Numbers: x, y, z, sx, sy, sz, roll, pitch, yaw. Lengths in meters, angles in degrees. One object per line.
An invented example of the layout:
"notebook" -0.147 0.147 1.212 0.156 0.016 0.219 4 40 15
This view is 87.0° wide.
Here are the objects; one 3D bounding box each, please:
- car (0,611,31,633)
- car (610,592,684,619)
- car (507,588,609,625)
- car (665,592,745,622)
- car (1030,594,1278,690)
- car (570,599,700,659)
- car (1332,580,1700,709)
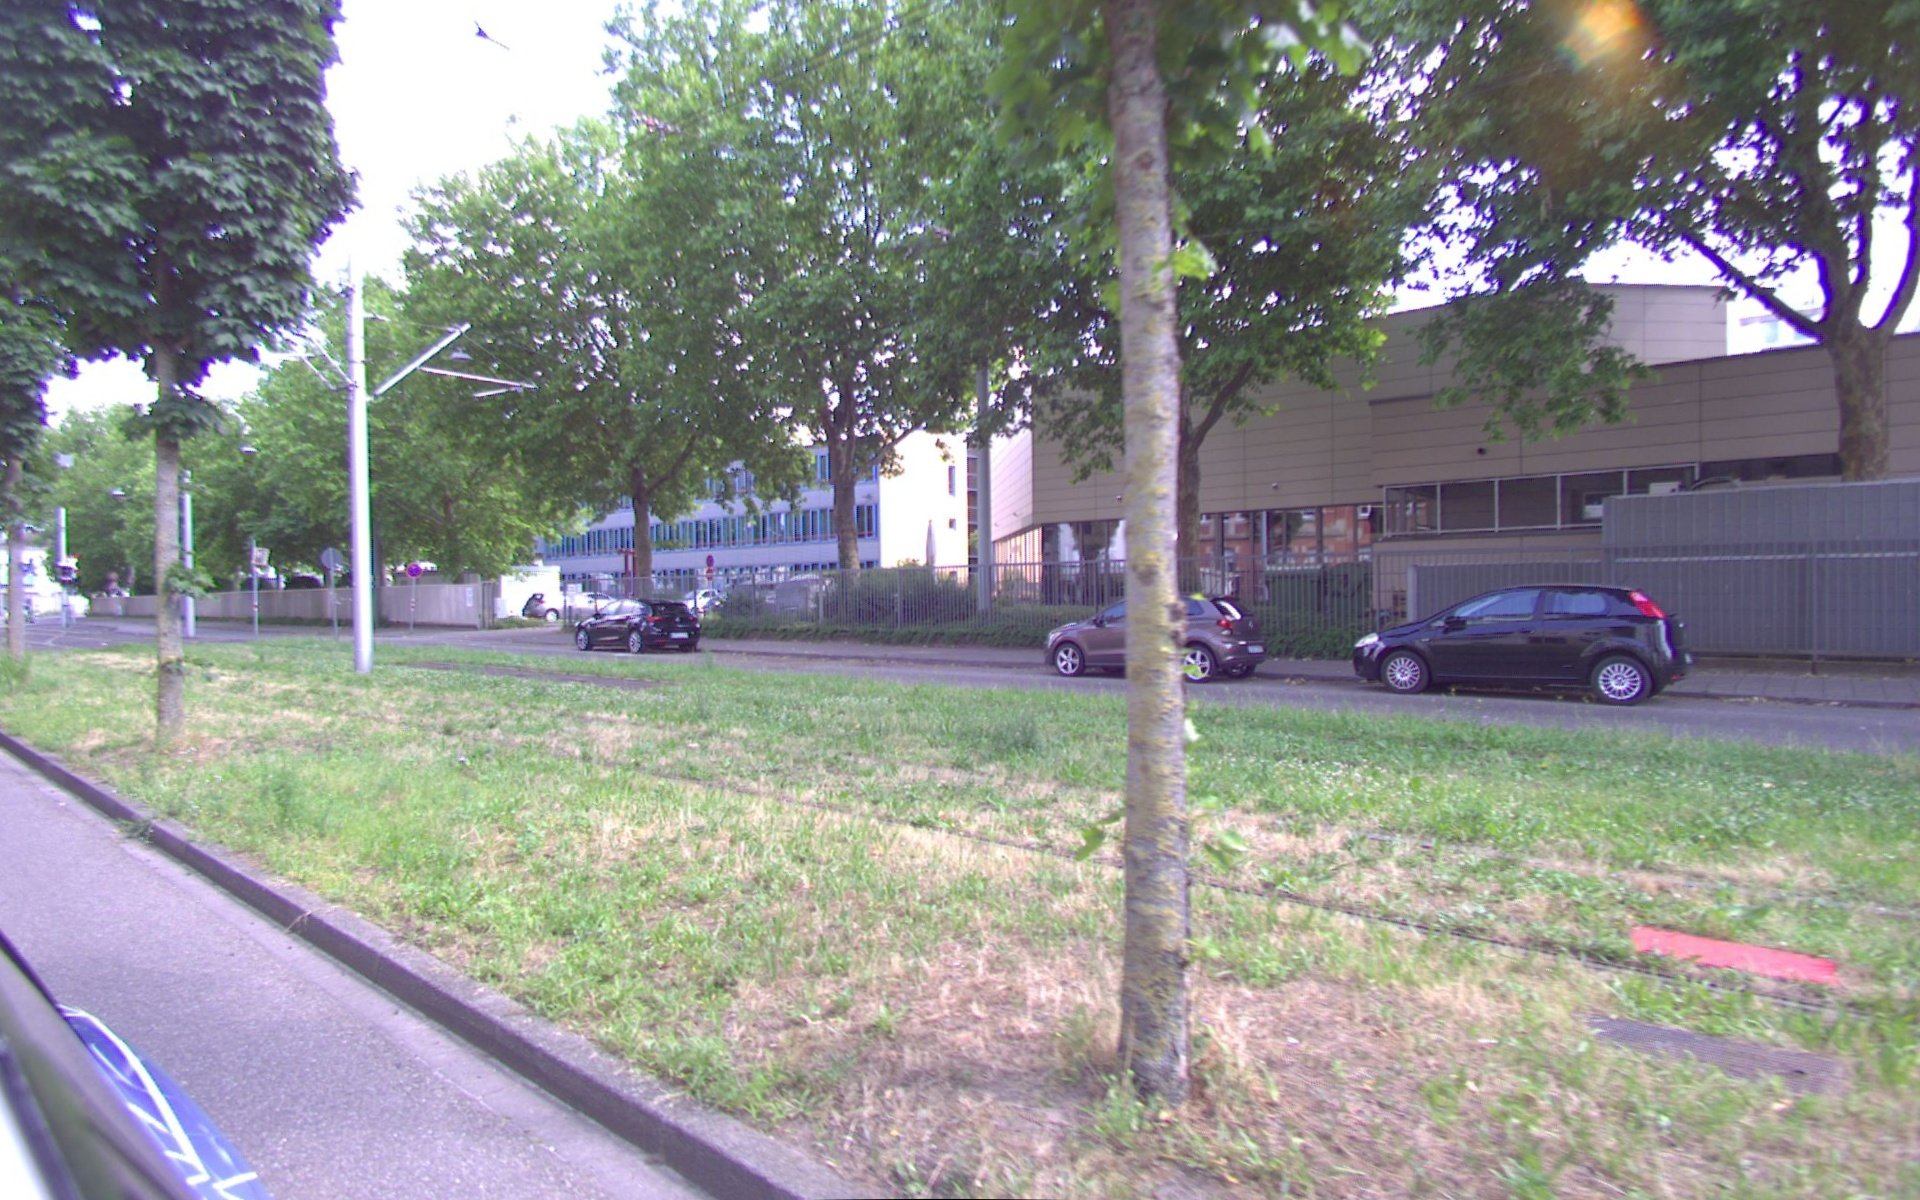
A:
"car" -72.809 1.661 77.859 1.774 1.541 4.047 -2 1 -40
"car" -19.343 0.349 62.573 1.998 1.630 3.948 0 0 39
"car" -18.628 0.297 47.017 1.998 1.630 3.948 0 0 39
"car" -14.223 0.373 56.493 1.998 1.630 3.948 0 0 39
"car" 3.204 0.652 17.180 3.900 1.436 1.538 -1 0 41
"car" -8.854 0.748 27.404 4.000 1.475 1.580 -1 0 43
"car" 7.321 0.511 13.565 4.001 1.464 1.783 -1 0 44
